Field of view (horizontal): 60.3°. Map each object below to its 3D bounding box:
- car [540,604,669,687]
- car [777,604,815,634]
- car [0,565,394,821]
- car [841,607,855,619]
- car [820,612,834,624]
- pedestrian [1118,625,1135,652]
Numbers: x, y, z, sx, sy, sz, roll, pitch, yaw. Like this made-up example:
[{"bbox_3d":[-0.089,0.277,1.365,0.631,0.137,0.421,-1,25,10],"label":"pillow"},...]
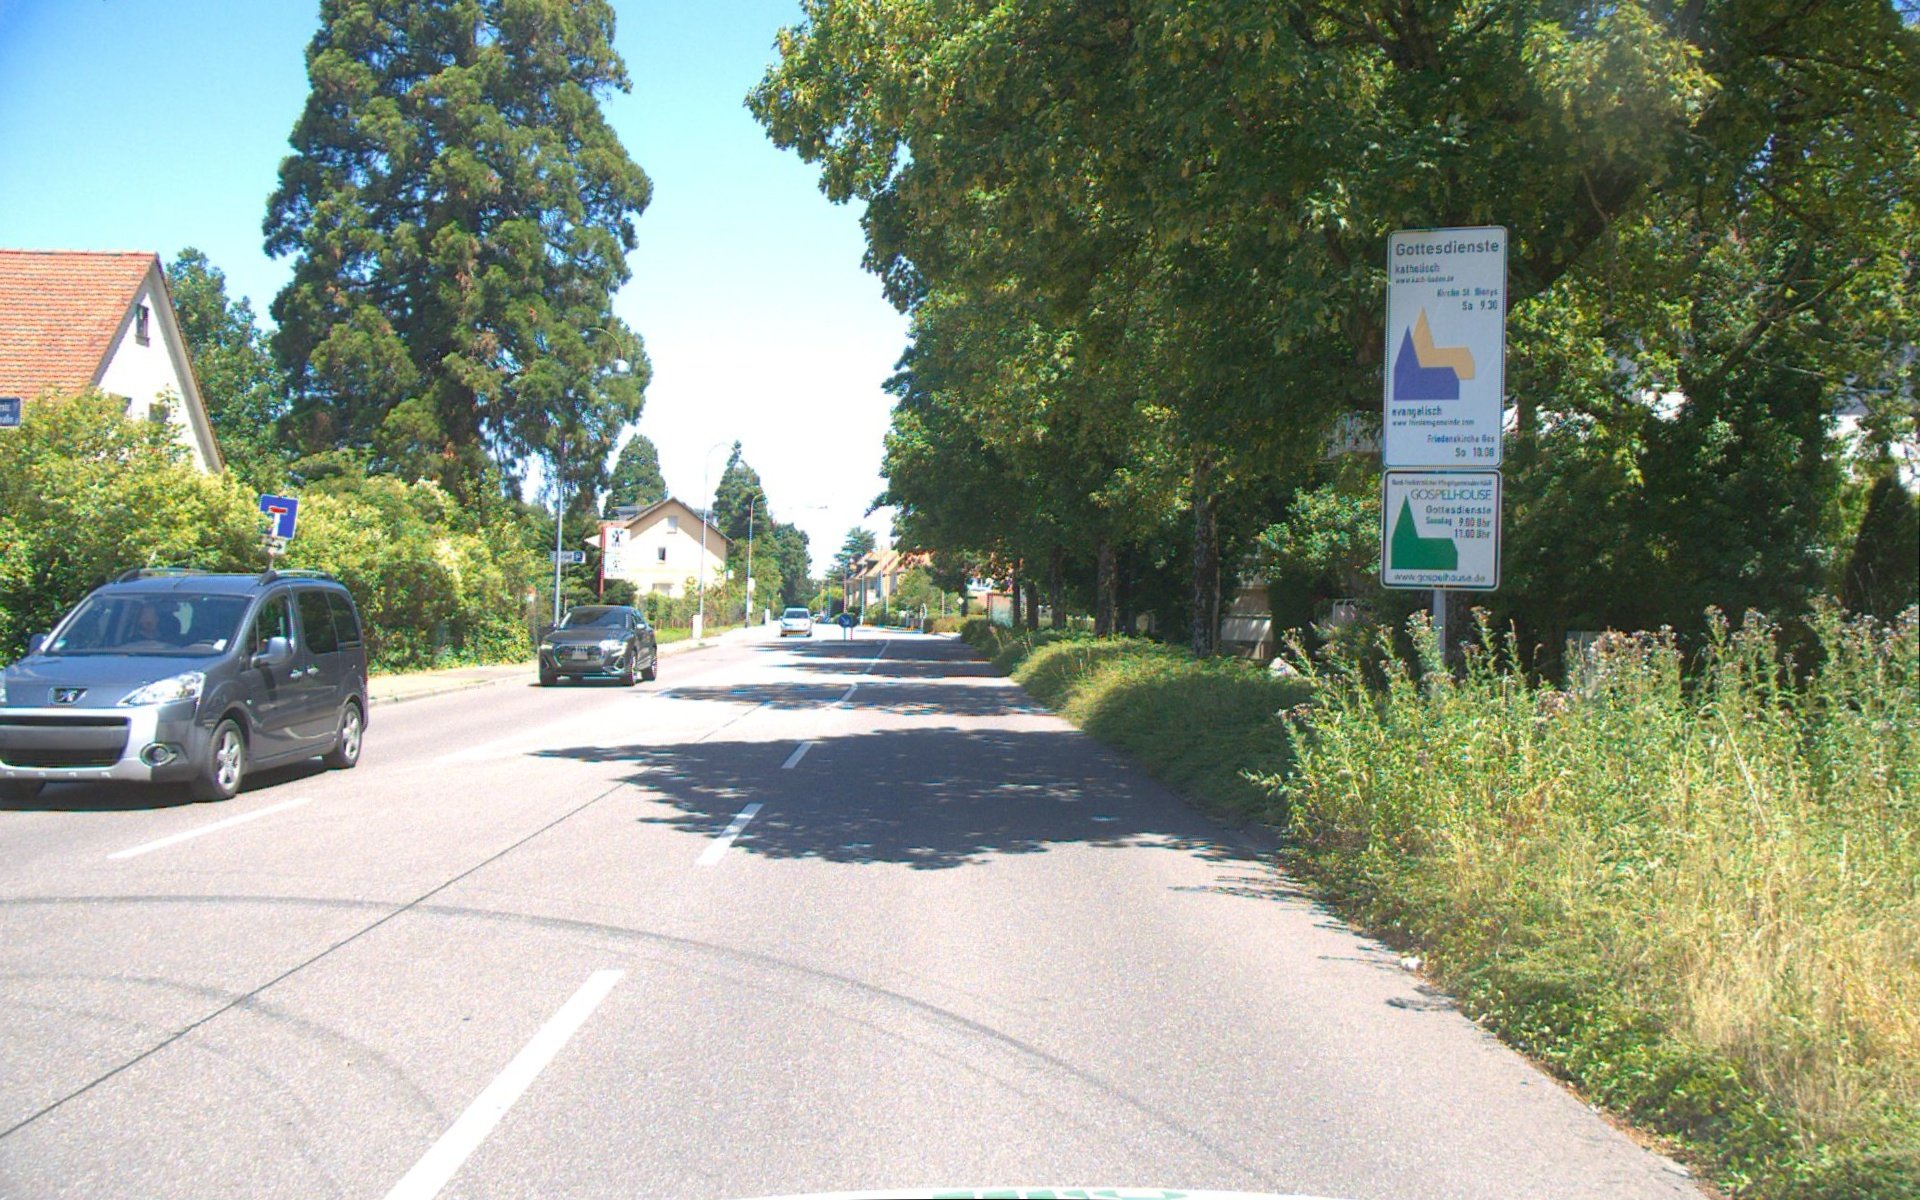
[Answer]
[{"bbox_3d":[-7.199,0.892,33.887,1.757,1.563,4.314,1,0,-1],"label":"car"},{"bbox_3d":[-9.559,1.118,96.660,1.874,1.719,4.123,1,0,-2],"label":"car"},{"bbox_3d":[-6.403,0.662,13.893,1.774,1.793,4.569,0,0,-1],"label":"car"},{"bbox_3d":[-16.383,1.943,242.989,1.778,1.748,3.999,1,-1,-1],"label":"car"},{"bbox_3d":[-19.508,2.607,243.010,1.778,1.748,3.999,1,-1,-1],"label":"car"},{"bbox_3d":[7.459,1.724,74.151,0.689,1.180,0.754,1,-1,2],"label":"pedestrian"}]
